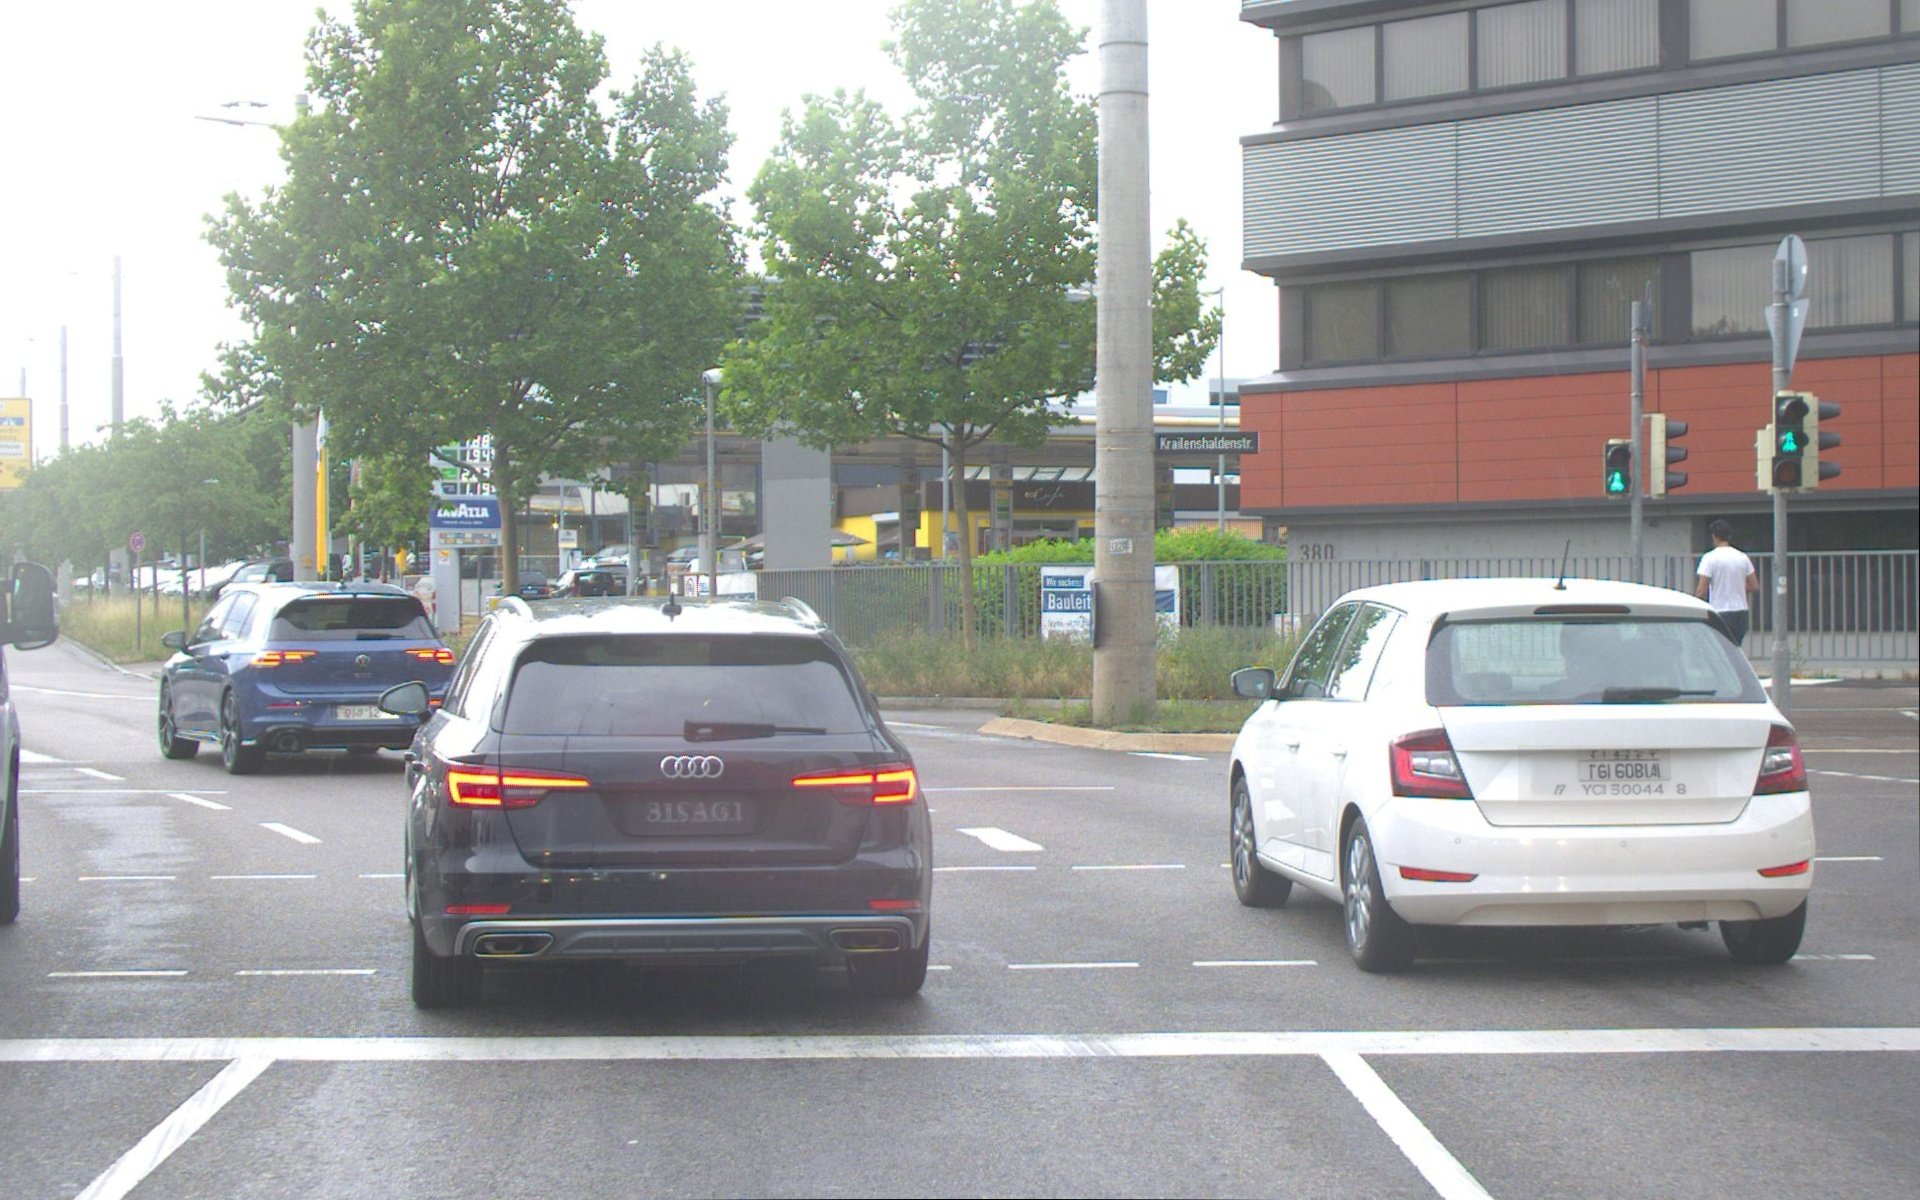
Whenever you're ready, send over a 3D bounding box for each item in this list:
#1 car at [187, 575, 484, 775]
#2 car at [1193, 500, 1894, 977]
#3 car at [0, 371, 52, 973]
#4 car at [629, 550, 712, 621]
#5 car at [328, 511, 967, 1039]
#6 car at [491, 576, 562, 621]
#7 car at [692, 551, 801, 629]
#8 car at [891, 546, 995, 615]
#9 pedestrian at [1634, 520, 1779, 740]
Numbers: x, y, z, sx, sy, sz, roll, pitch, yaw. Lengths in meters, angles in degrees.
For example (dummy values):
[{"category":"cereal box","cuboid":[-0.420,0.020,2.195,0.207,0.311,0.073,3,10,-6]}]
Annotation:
[{"category":"car","cuboid":[-5.016,0.573,27.236,1.893,1.460,3.910,1,-1,-17]},{"category":"car","cuboid":[2.189,0.515,14.041,1.828,1.650,4.000,1,-1,-5]},{"category":"car","cuboid":[-4.804,0.269,12.596,2.444,2.286,4.906,0,-1,-10]},{"category":"car","cuboid":[-8.593,-0.406,101.818,1.678,2.007,3.543,2,-1,-16]},{"category":"car","cuboid":[-1.175,0.557,12.915,1.993,1.632,4.001,-1,0,-5]},{"category":"car","cuboid":[-15.682,-0.047,124.235,1.791,1.586,4.001,0,0,-18]},{"category":"car","cuboid":[-5.796,-0.275,92.951,1.993,2.025,4.001,-1,0,-17]},{"category":"car","cuboid":[-0.532,-0.579,105.149,1.869,2.007,3.775,2,-1,-21]},{"category":"pedestrian","cuboid":[7.407,0.278,34.161,1.143,2.118,1.222,-1,1,-1]}]
